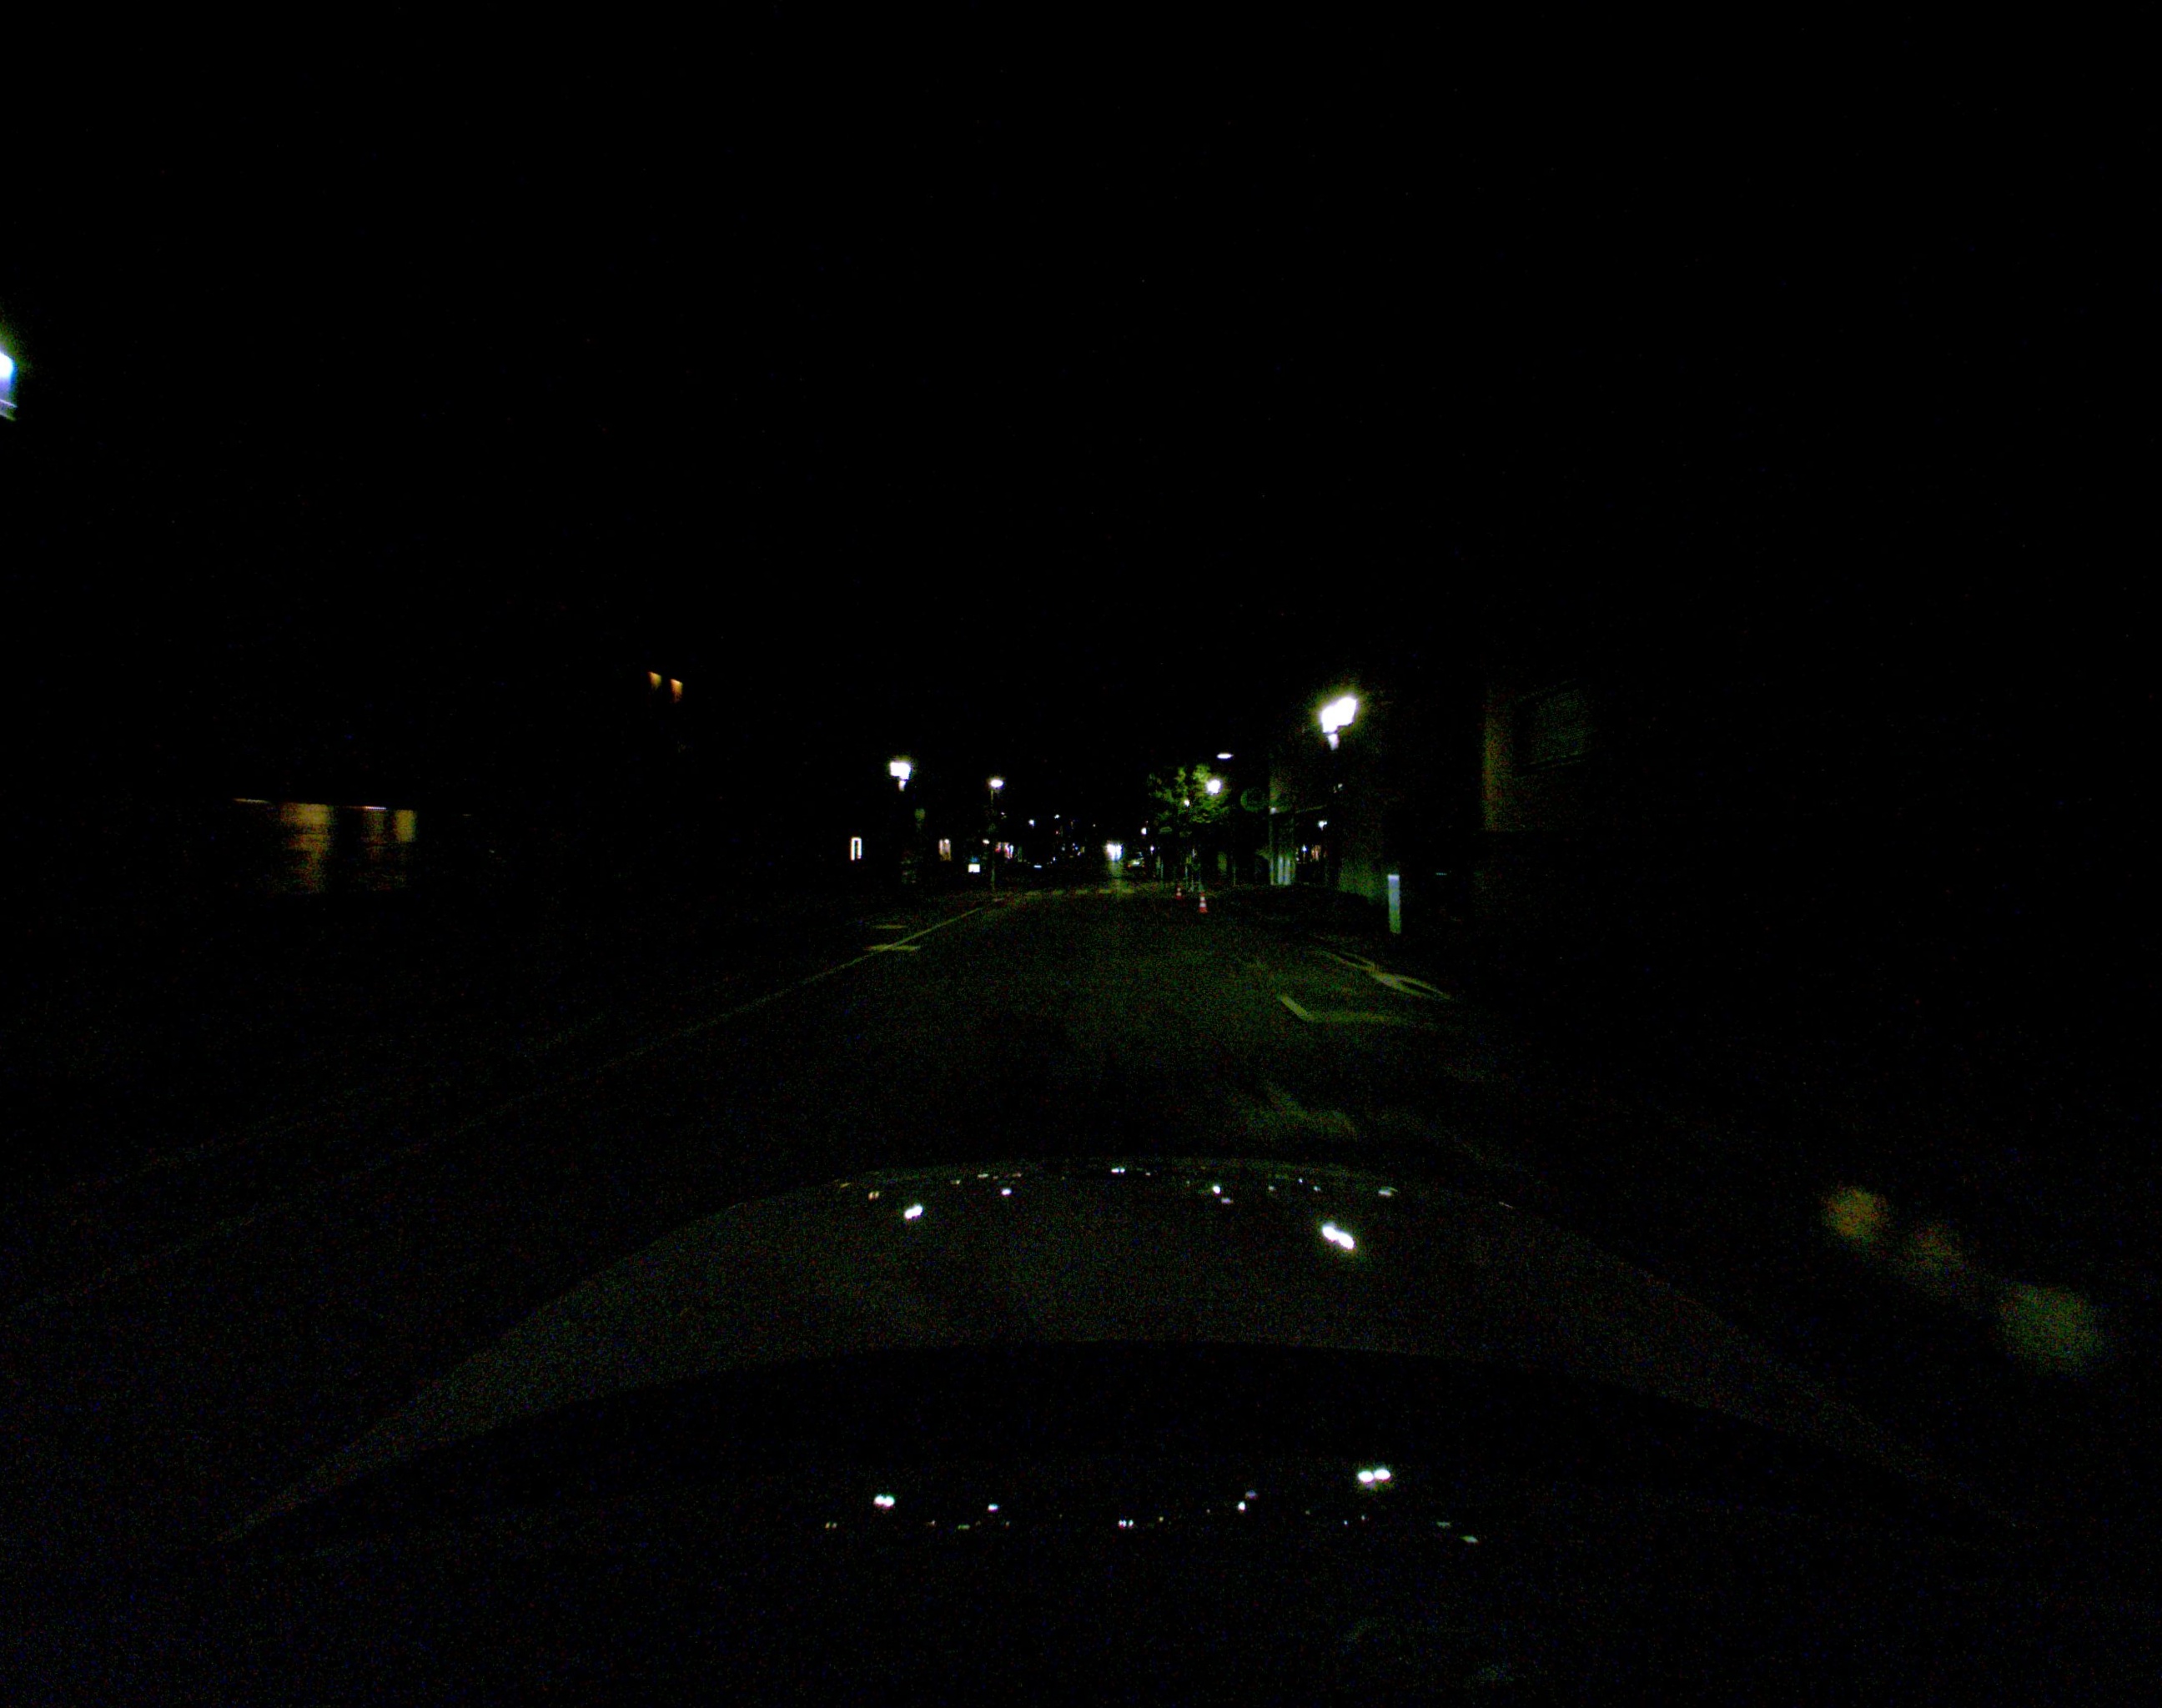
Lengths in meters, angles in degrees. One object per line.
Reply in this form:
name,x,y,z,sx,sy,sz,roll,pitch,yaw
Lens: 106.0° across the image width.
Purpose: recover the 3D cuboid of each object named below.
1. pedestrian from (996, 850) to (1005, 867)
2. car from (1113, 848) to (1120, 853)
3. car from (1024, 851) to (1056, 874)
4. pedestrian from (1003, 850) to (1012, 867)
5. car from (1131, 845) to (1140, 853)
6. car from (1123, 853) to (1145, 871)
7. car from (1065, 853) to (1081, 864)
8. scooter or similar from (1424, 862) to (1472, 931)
pedestrian,-8.415,0.480,84.821,0.766,1.656,0.818,-1,2,3
car,8.950,-0.913,203.828,1.716,1.246,4.241,-1,0,3
car,-3.152,0.607,64.265,2.010,1.691,5.006,1,0,3
pedestrian,-7.638,0.479,84.785,0.766,1.656,0.782,-1,2,3
car,11.487,-0.983,171.489,1.768,1.652,4.368,-1,1,4
car,4.531,0.640,69.645,1.669,1.459,3.675,-1,0,0
car,-1.112,0.661,118.381,1.906,1.370,4.462,-1,1,4
scooter or similar,7.097,0.796,15.786,0.371,1.277,1.306,-1,-1,3
